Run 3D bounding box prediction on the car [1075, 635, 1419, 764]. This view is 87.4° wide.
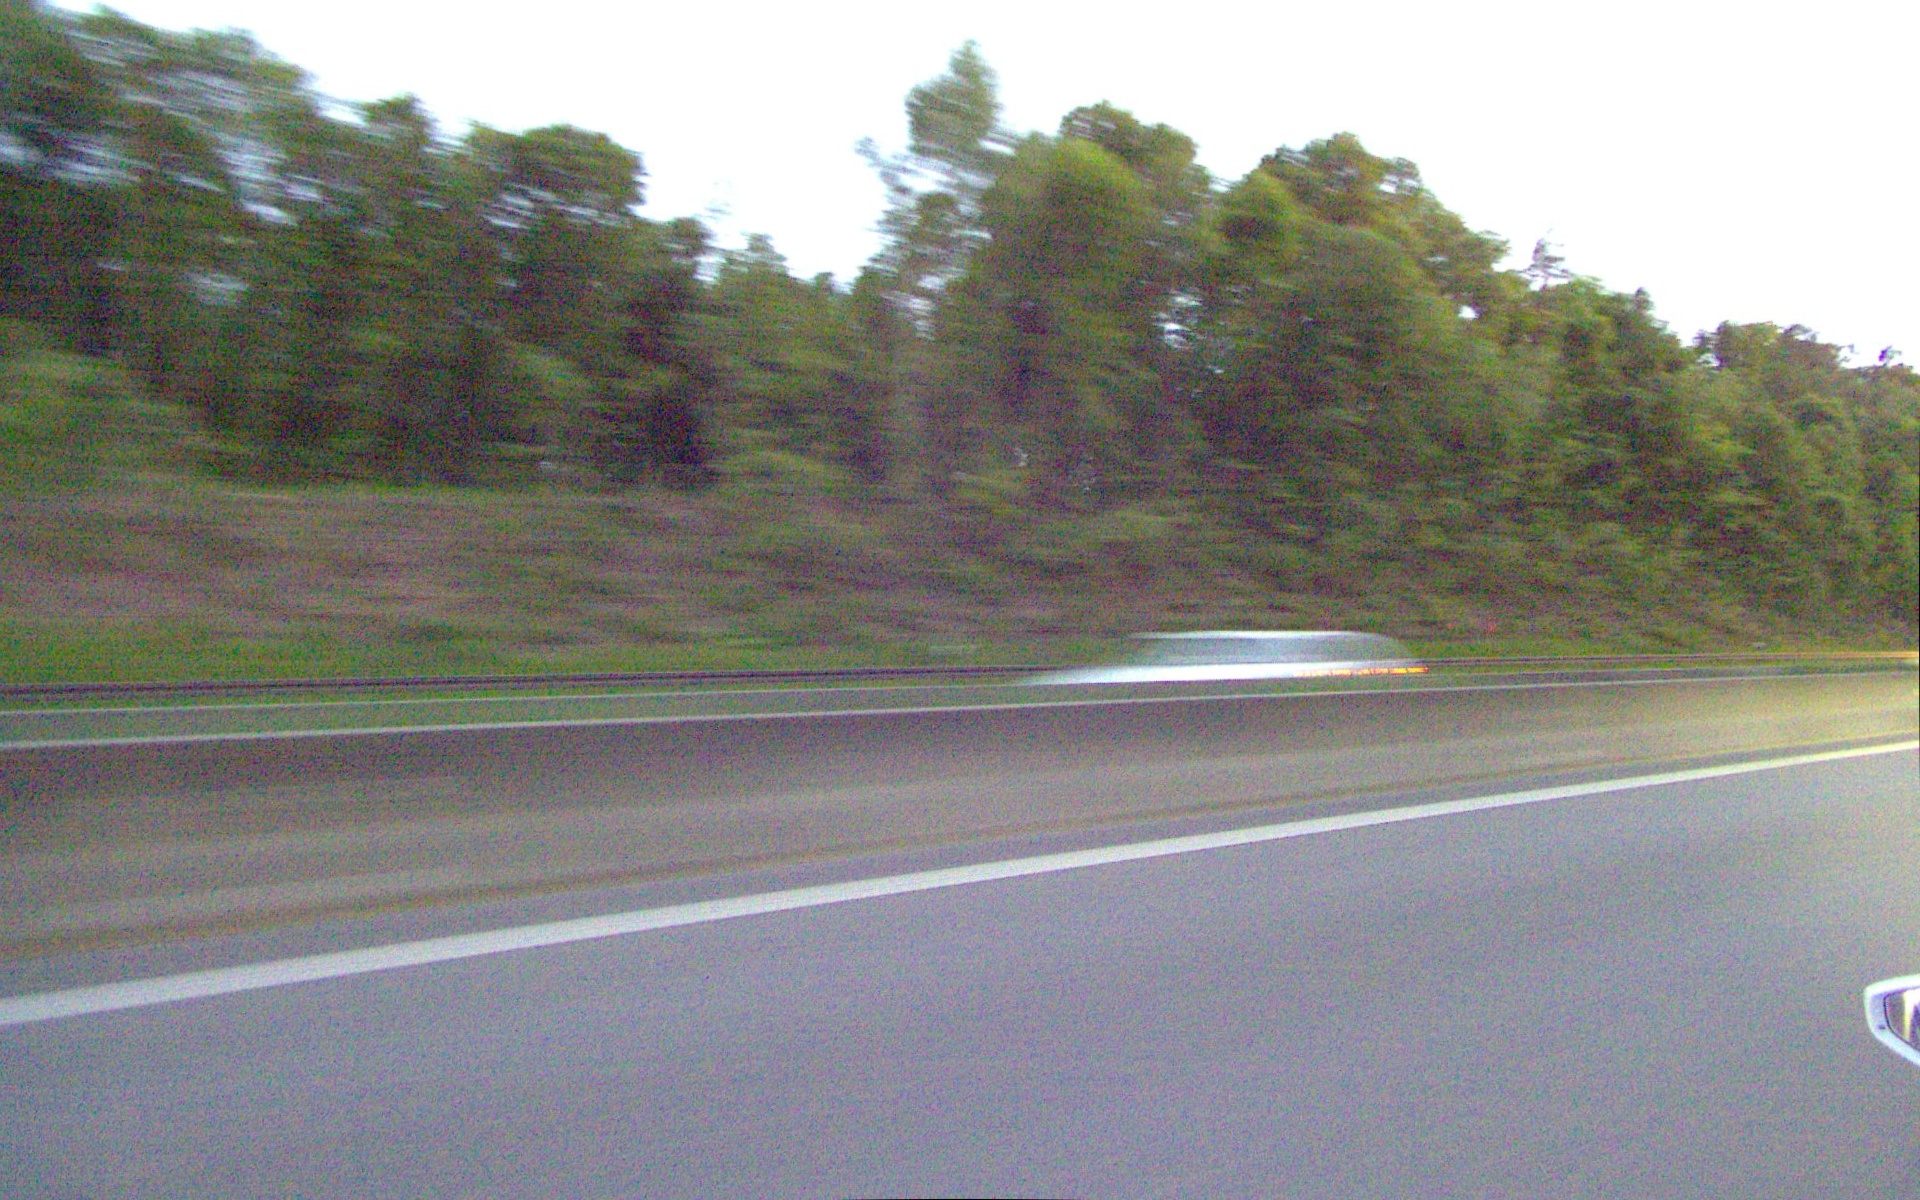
[{"bbox_3d":[4.301,1.344,14.804,5.098,1.634,1.908,1,-2,-30],"label":"car"}]
